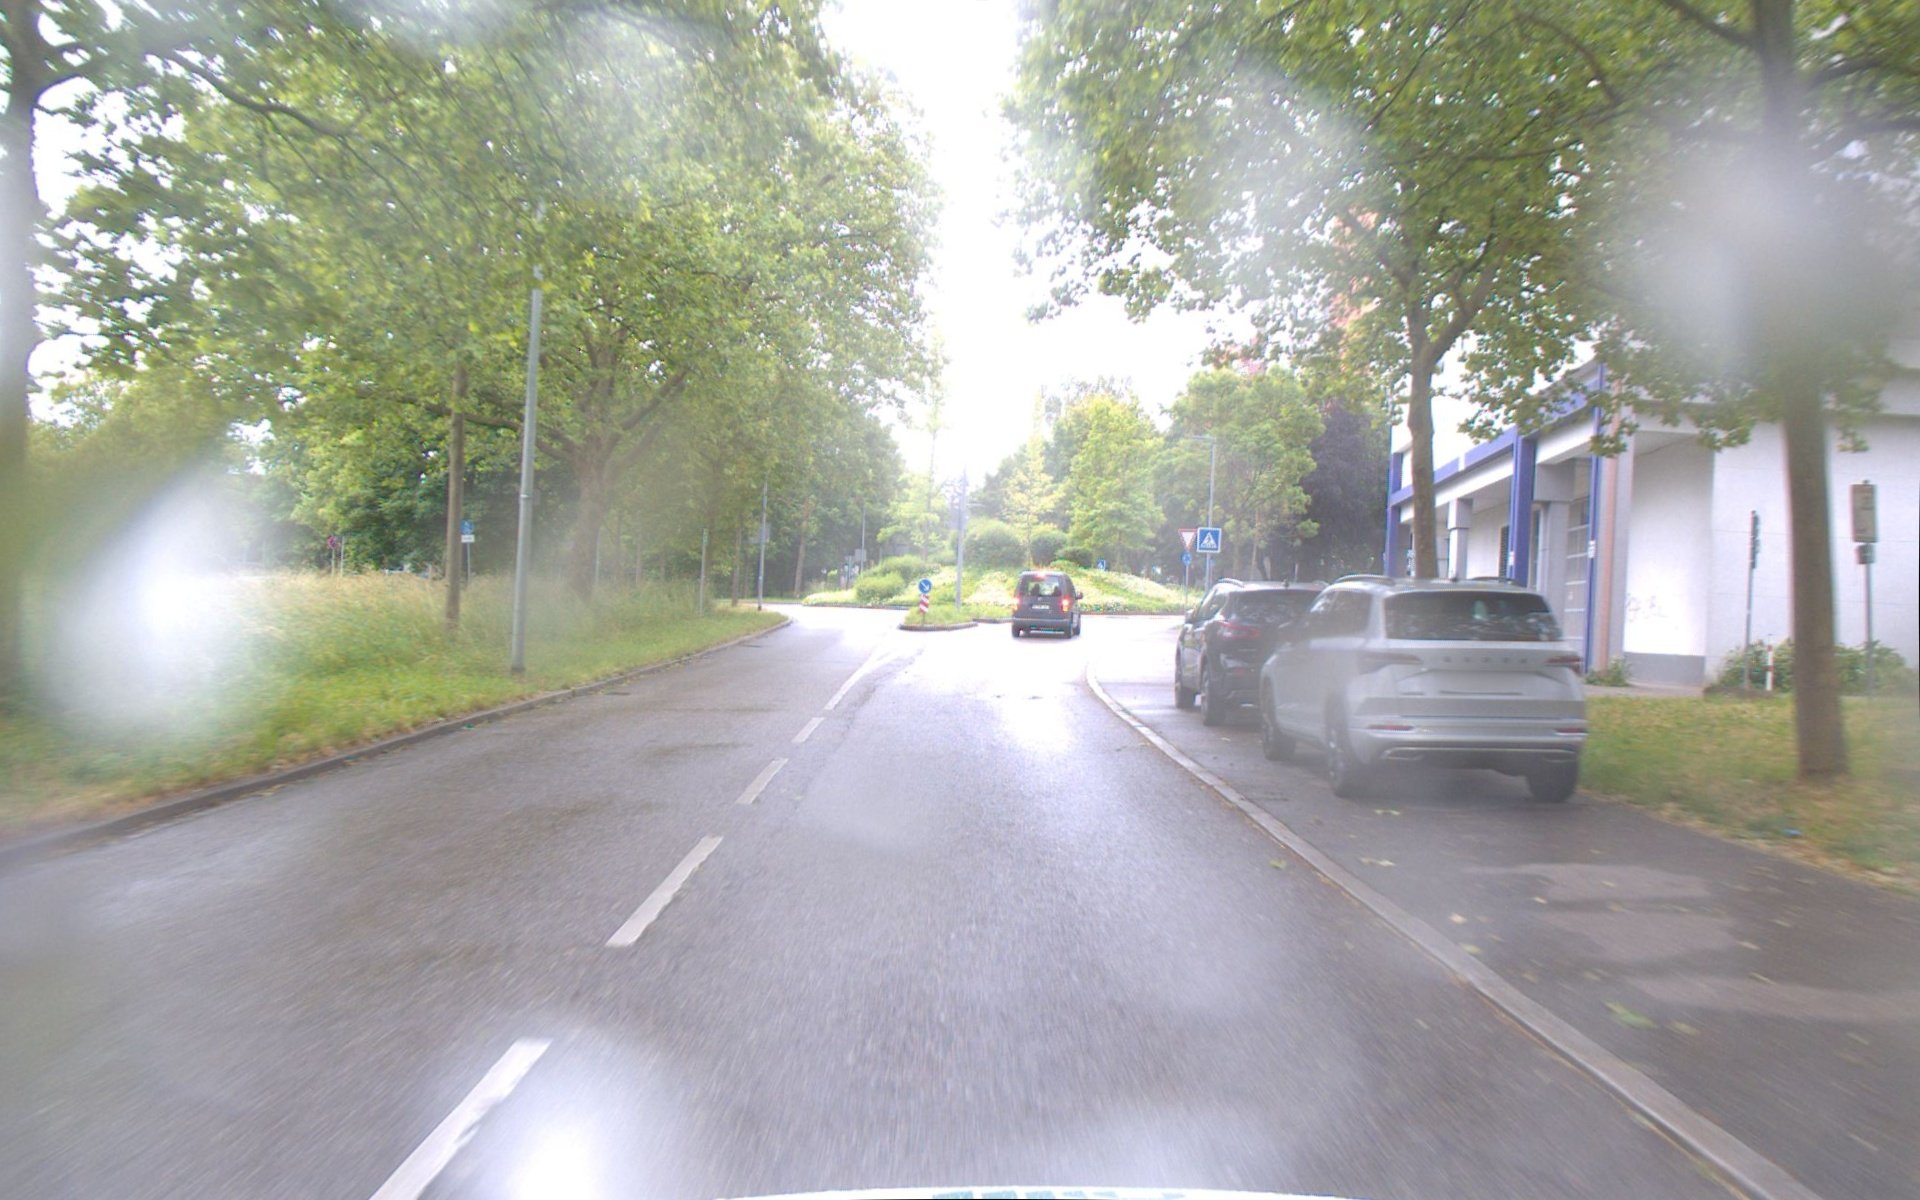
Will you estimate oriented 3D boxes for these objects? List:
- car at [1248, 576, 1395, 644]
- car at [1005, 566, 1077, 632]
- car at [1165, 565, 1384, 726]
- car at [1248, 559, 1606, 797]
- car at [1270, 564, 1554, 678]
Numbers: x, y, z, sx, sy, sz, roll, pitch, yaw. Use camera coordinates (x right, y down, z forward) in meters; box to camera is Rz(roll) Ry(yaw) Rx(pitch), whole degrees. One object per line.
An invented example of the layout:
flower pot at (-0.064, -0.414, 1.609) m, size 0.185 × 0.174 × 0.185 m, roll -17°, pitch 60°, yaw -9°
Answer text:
car at (11.469, 0.293, 52.672) m, size 4.285 × 1.789 × 1.831 m, roll 4°, pitch 3°, yaw 6°
car at (2.400, -0.060, 48.205) m, size 1.878 × 1.832 × 3.792 m, roll 0°, pitch 1°, yaw 6°
car at (3.549, 0.465, 19.423) m, size 1.764 × 1.630 × 4.371 m, roll 1°, pitch 0°, yaw 1°
car at (3.575, 0.525, 13.465) m, size 1.692 × 1.619 × 4.252 m, roll 1°, pitch 0°, yaw 0°
car at (7.705, 0.329, 28.496) m, size 4.378 × 1.709 × 1.768 m, roll 2°, pitch 1°, yaw 1°
